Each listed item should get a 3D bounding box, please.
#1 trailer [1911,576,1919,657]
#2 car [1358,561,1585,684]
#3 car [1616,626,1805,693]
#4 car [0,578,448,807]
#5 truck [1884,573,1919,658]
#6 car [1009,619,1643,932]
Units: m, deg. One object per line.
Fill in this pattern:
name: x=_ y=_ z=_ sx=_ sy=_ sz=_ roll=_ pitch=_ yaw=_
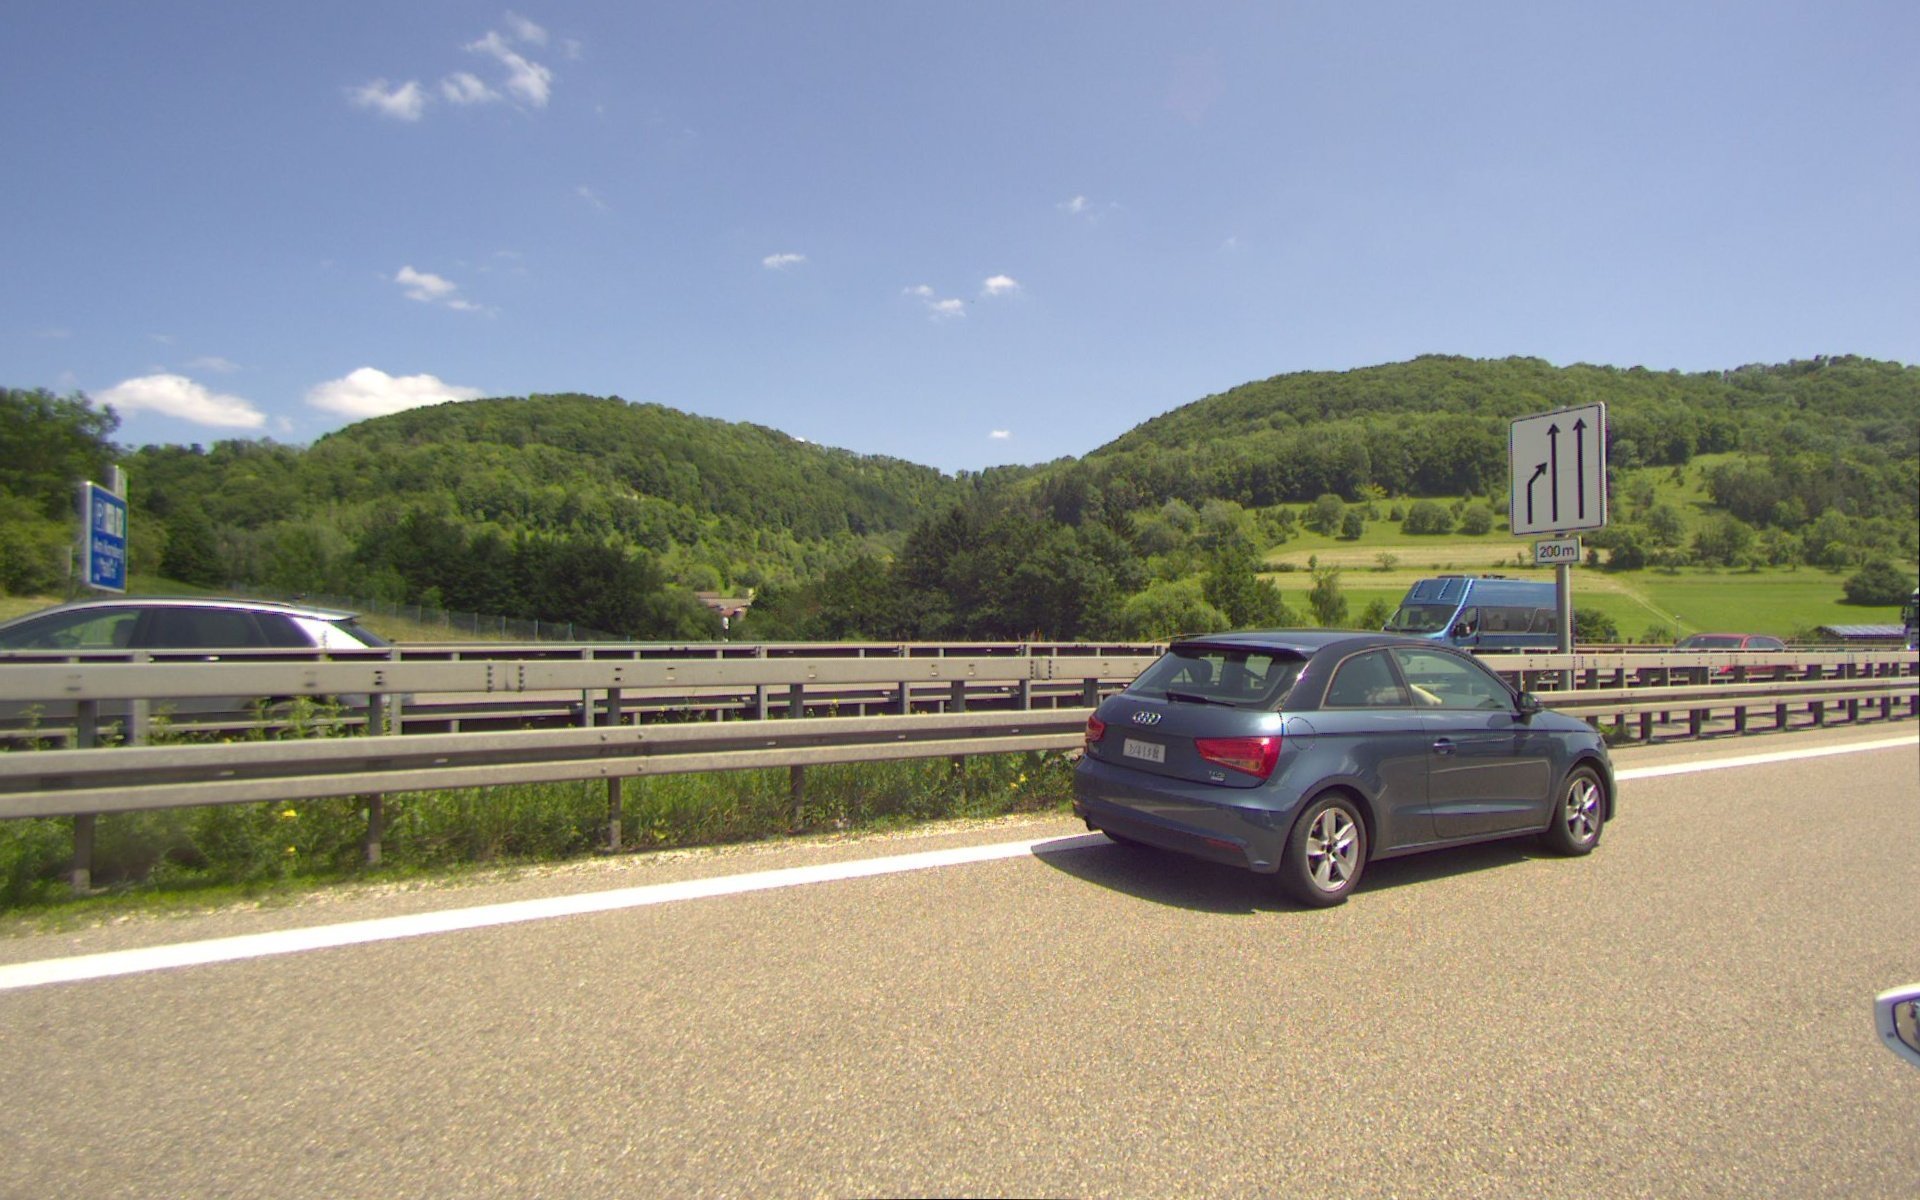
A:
trailer: x=56.283 y=1.079 z=54.438 sx=12.845 sy=4.260 sz=3.232 roll=2 pitch=0 yaw=-30
car: x=13.354 y=0.620 z=26.093 sx=6.325 sy=2.900 sz=2.145 roll=2 pitch=0 yaw=-30
car: x=17.983 y=1.377 z=24.026 sx=4.665 sy=1.405 sz=1.984 roll=1 pitch=0 yaw=-30
car: x=-6.988 y=0.721 z=8.878 sx=4.236 sy=1.732 sz=1.836 roll=1 pitch=-1 yaw=-33
truck: x=50.665 y=0.890 z=51.242 sx=6.874 sy=4.203 sz=3.262 roll=2 pitch=-1 yaw=-30
car: x=2.409 y=0.857 z=6.333 sx=3.955 sy=1.407 sz=1.680 roll=2 pitch=-1 yaw=-32
